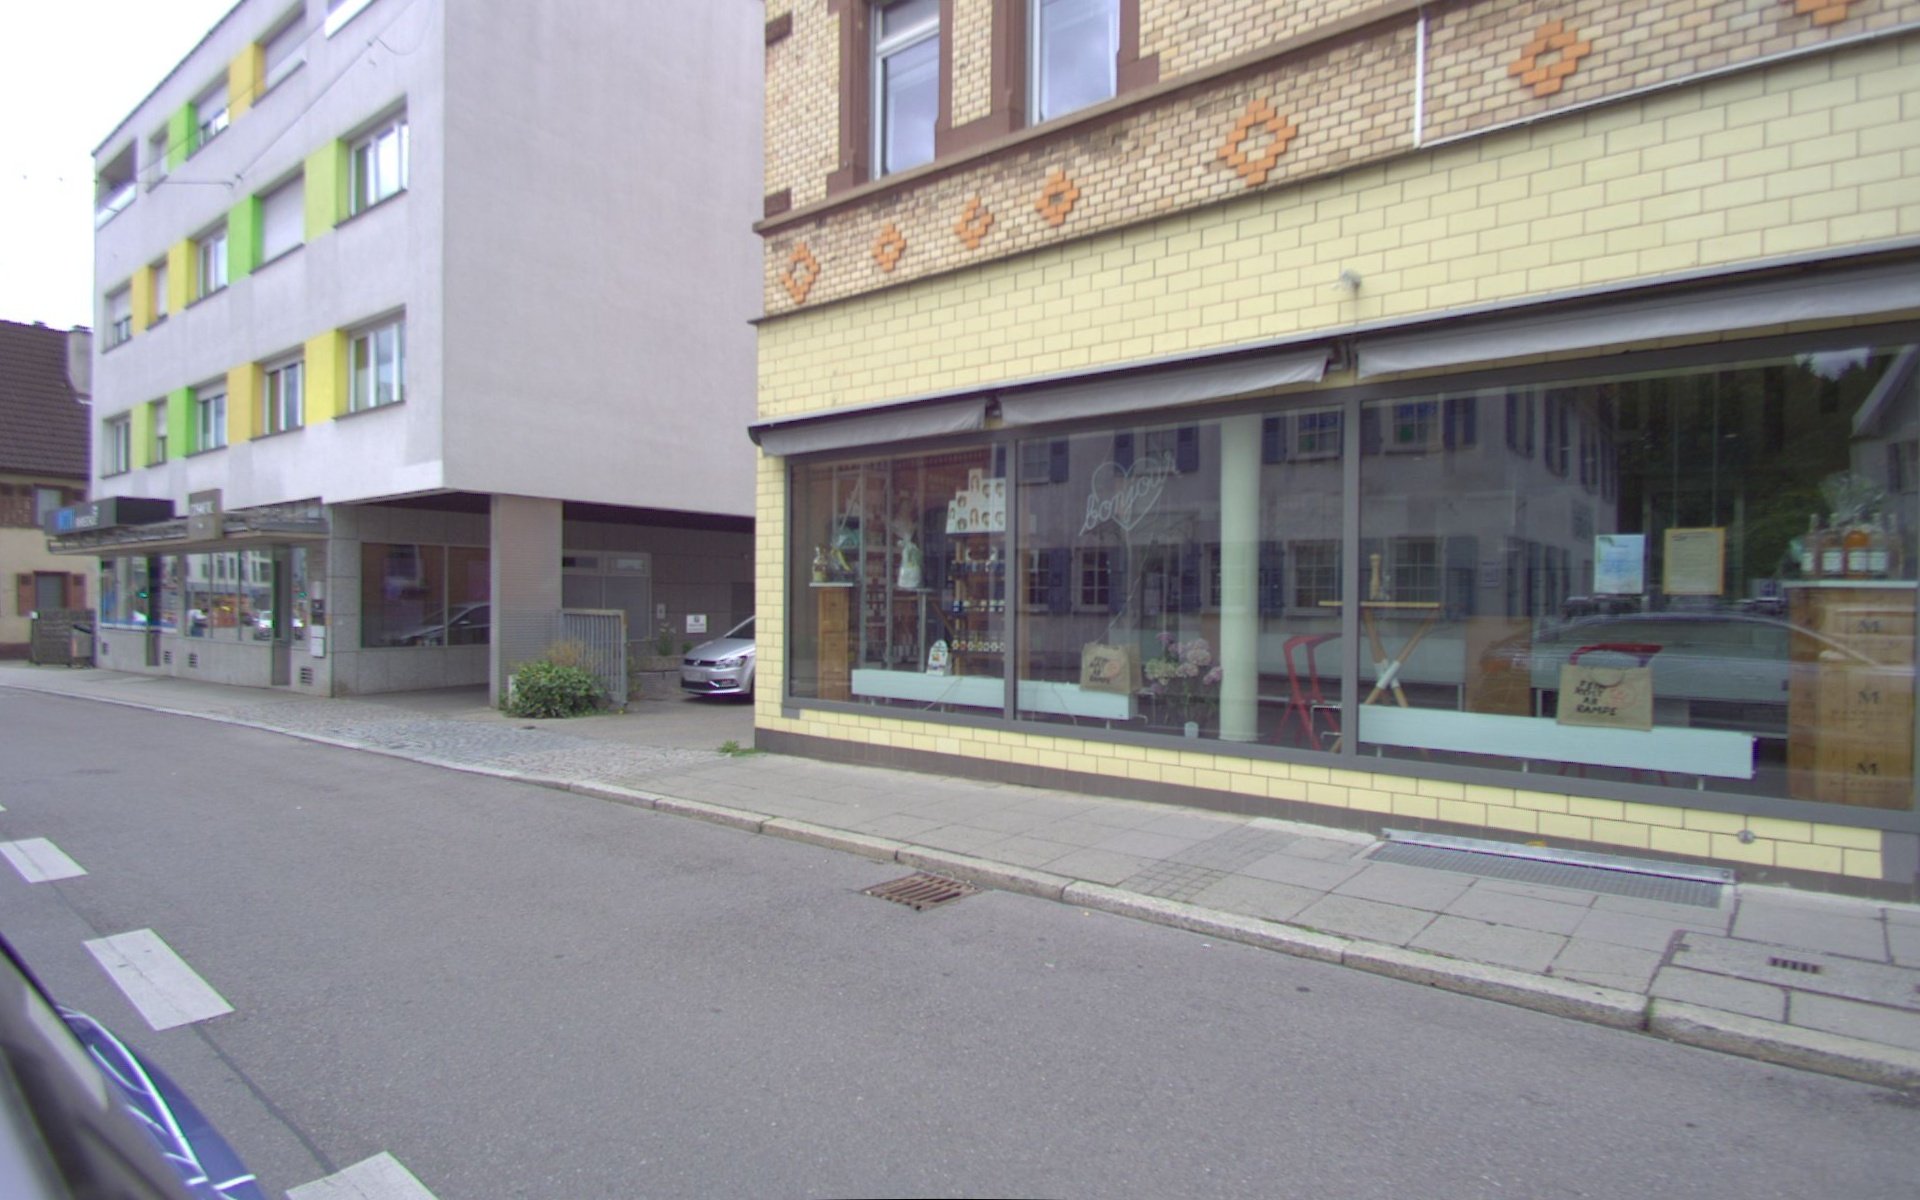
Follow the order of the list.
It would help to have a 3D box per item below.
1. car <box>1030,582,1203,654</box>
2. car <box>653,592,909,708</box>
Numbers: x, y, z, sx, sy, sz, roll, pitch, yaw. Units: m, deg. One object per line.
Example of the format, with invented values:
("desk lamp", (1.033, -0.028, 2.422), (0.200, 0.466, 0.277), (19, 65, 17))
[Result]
("car", (3.850, 0.415, 25.386), (1.856, 1.674, 4.032), (1, 0, -41))
("car", (-2.898, 0.730, 17.025), (1.885, 1.674, 3.956), (-1, 0, 40))
